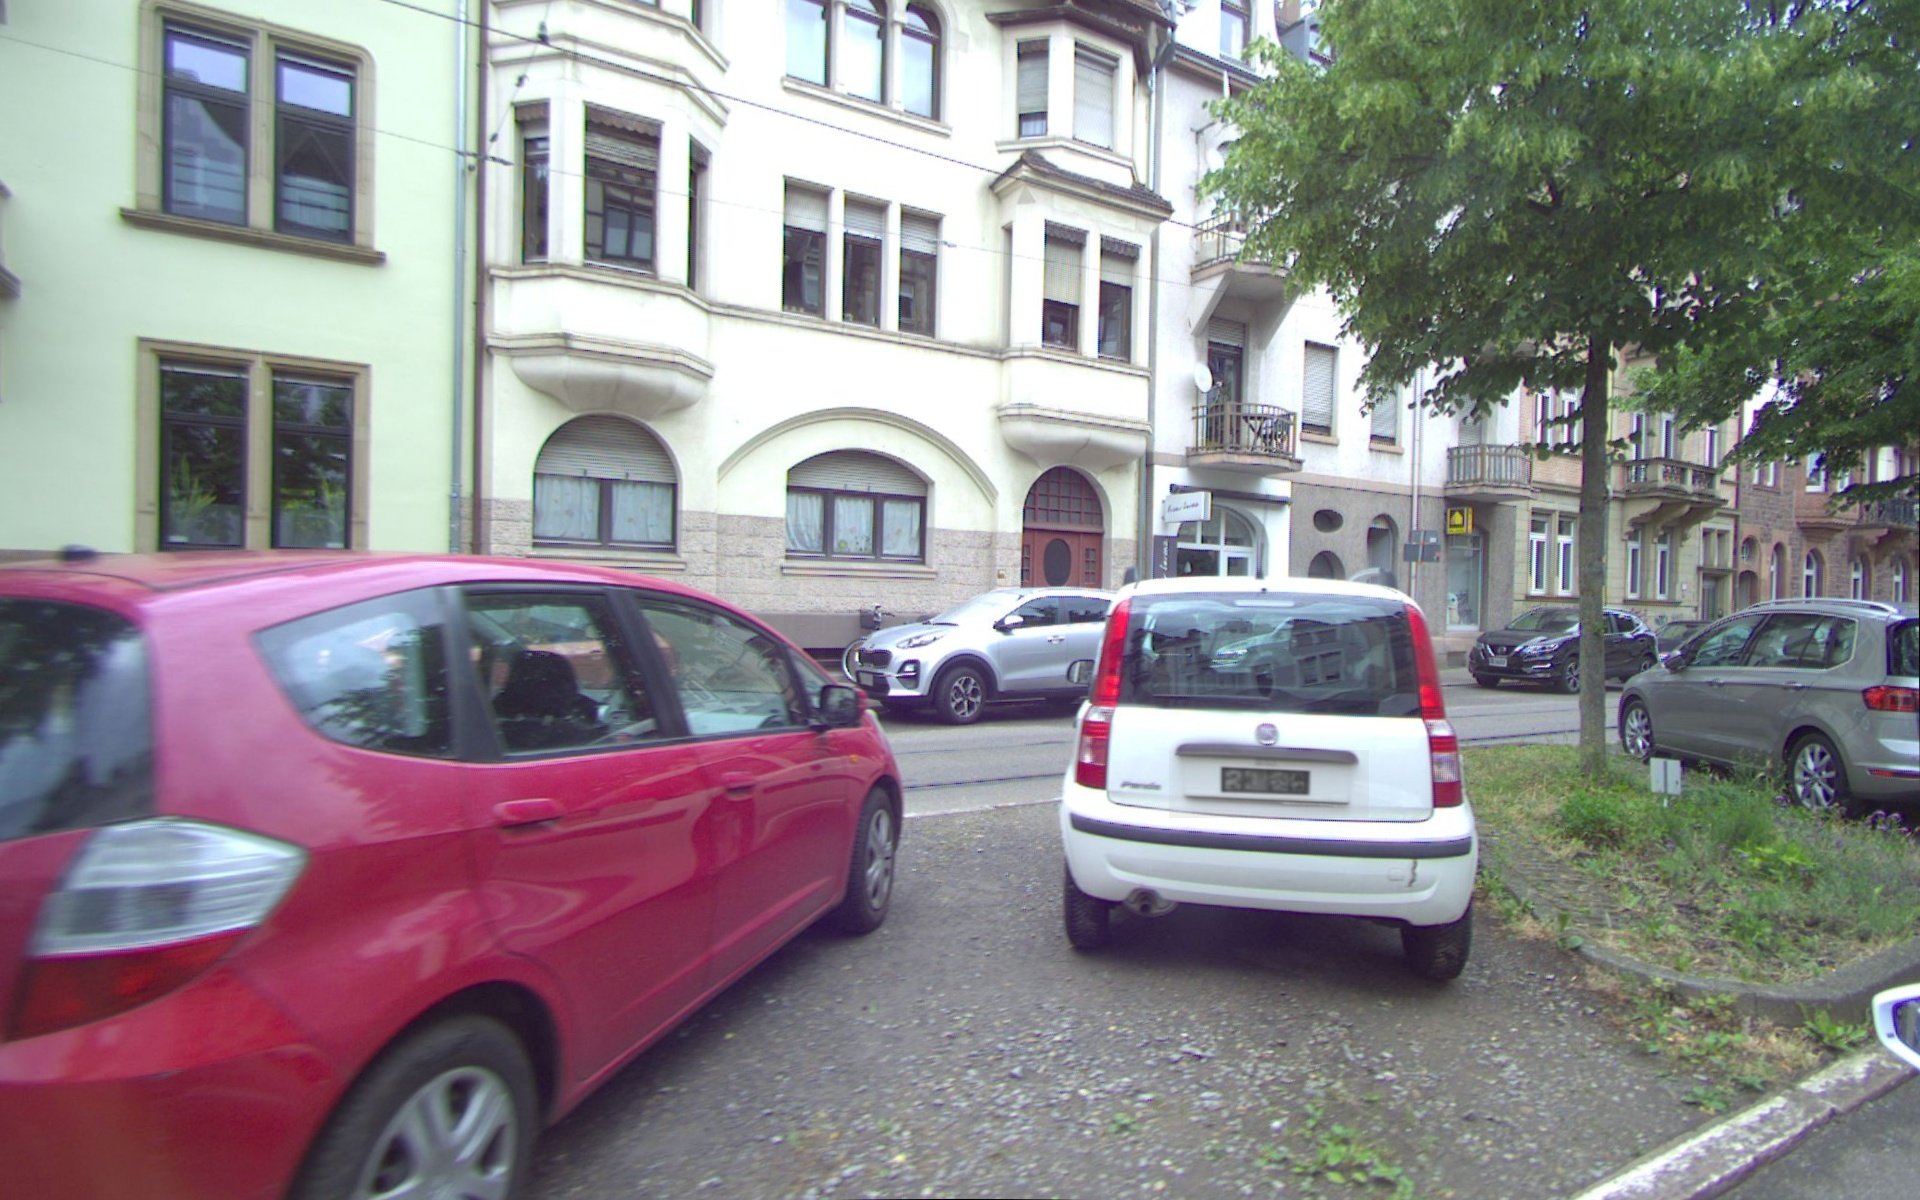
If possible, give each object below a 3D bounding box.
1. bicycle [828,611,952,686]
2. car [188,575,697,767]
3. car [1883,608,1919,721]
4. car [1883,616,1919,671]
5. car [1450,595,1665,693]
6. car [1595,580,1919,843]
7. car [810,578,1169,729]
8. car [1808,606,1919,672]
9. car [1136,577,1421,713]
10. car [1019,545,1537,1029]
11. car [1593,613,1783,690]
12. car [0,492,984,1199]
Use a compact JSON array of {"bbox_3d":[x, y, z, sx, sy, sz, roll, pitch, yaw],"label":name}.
[{"bbox_3d":[-1.108,0.754,15.932,1.845,1.102,0.651,1,1,-29],"label":"bicycle"},{"bbox_3d":[-4.949,0.597,9.997,4.149,1.543,1.840,1,0,-33],"label":"car"},{"bbox_3d":[13.336,0.888,11.973,1.740,1.505,4.001,1,0,15],"label":"car"},{"bbox_3d":[29.750,1.340,30.420,3.680,1.580,1.653,2,0,-31],"label":"car"},{"bbox_3d":[11.638,0.817,19.518,4.224,1.702,1.795,2,0,-31],"label":"car"},{"bbox_3d":[7.049,0.758,8.211,1.690,1.630,4.210,2,0,11],"label":"car"},{"bbox_3d":[0.464,0.619,13.161,4.445,1.682,1.840,1,0,-33],"label":"car"},{"bbox_3d":[25.554,1.072,27.895,4.271,1.650,1.759,2,0,-31],"label":"car"},{"bbox_3d":[5.096,0.655,15.927,4.378,1.895,1.842,1,0,-30],"label":"car"},{"bbox_3d":[1.388,0.633,5.145,1.656,1.547,3.430,2,0,11],"label":"car"},{"bbox_3d":[15.947,1.096,21.962,4.337,1.509,1.795,2,0,-31],"label":"car"},{"bbox_3d":[-1.190,0.586,3.099,1.641,1.547,3.814,2,2,15],"label":"car"}]
